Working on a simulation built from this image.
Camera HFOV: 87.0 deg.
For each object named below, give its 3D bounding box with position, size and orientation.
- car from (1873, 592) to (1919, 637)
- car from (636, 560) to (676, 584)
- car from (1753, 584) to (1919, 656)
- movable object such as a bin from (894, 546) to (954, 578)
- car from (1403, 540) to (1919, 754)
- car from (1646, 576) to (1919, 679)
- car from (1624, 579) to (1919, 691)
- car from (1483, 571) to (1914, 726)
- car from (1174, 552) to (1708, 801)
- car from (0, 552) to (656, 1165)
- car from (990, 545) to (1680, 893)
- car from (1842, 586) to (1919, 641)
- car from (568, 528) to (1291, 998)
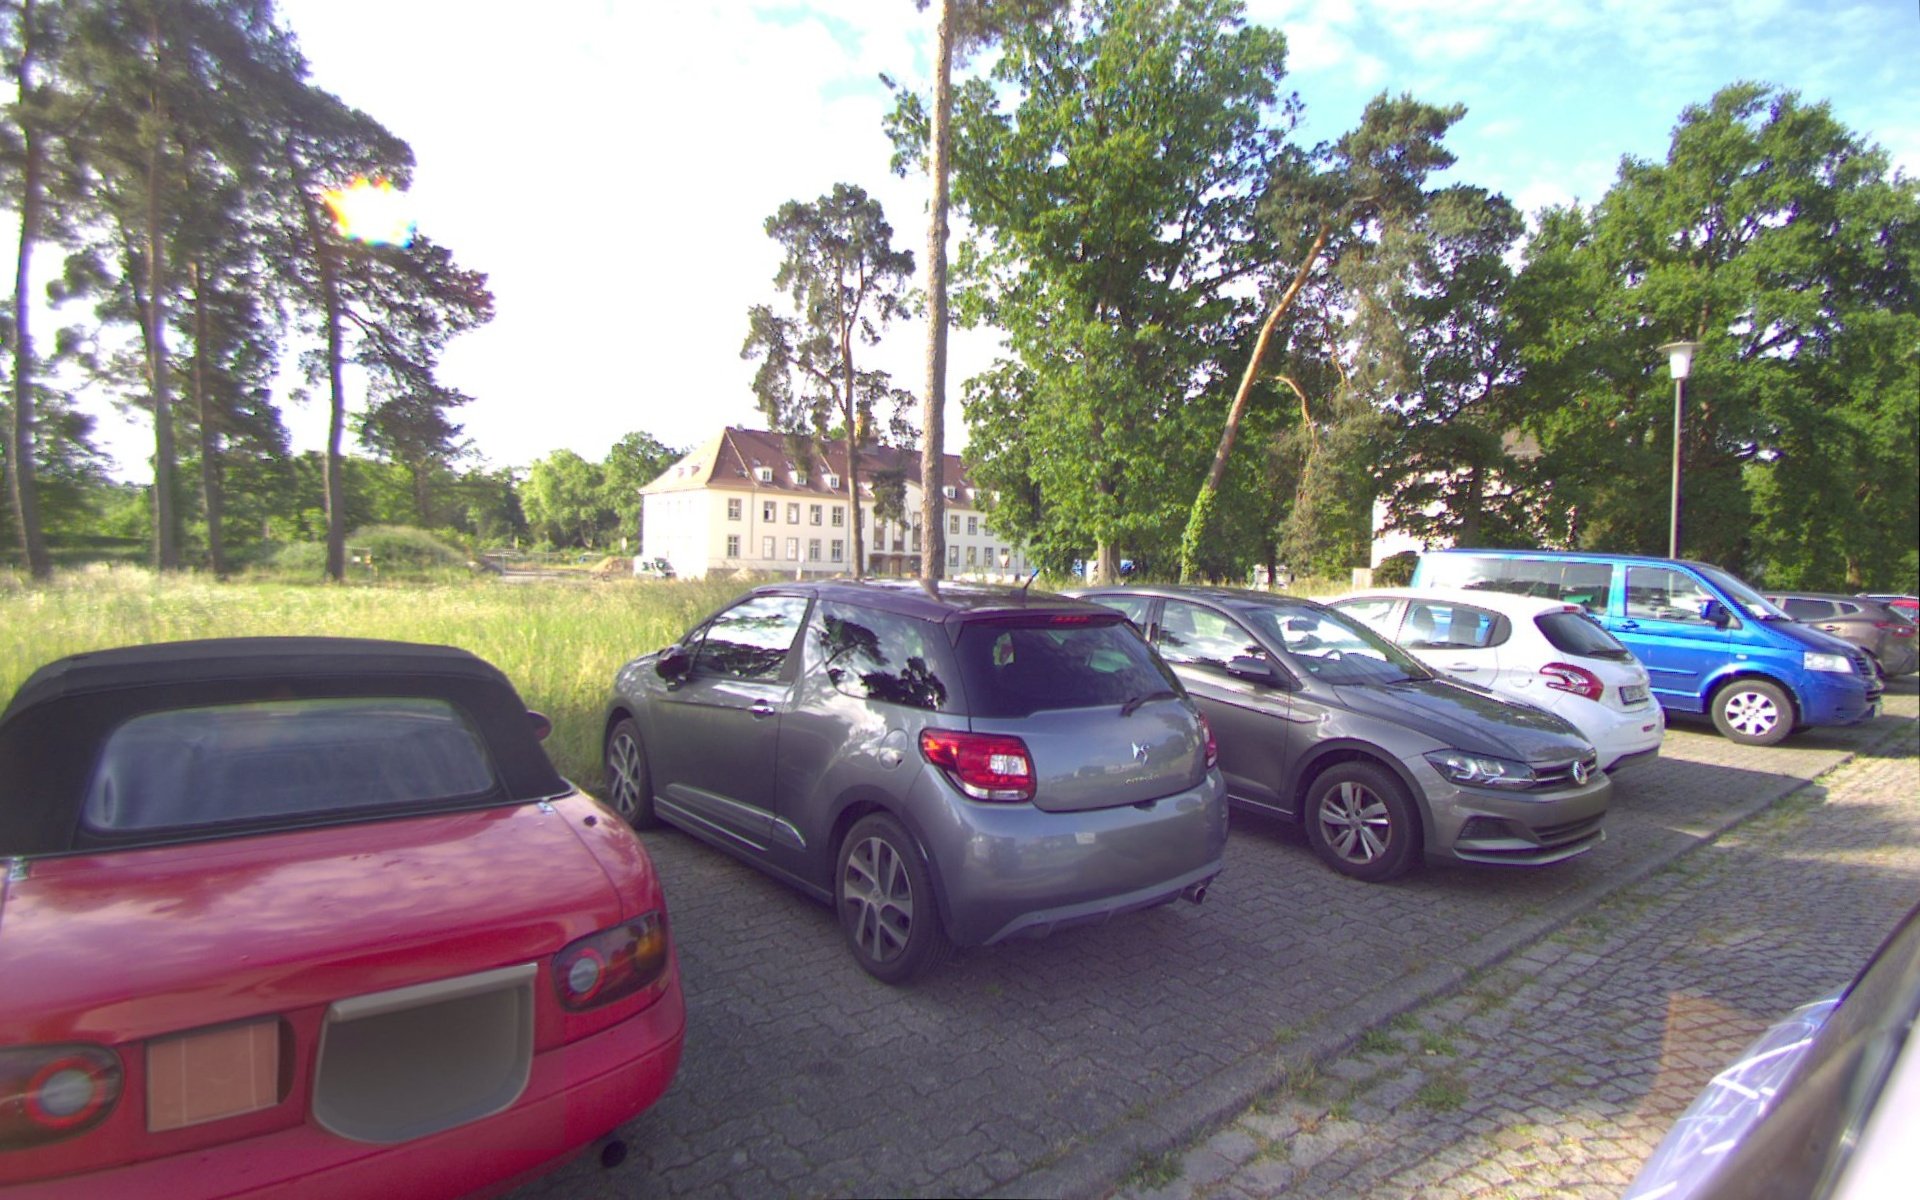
[{"bbox_3d":[33.520,0.575,33.917,1.754,1.440,4.096,1,3,-41],"label":"car"},{"bbox_3d":[-29.555,-2.689,98.298,1.967,2.240,4.423,-1,0,-43],"label":"car"},{"bbox_3d":[22.147,0.479,24.687,1.821,1.477,4.096,1,3,-41],"label":"car"},{"bbox_3d":[-4.008,-4.230,113.471,6.338,3.342,2.862,0,0,7],"label":"movable object such as a bin"},{"bbox_3d":[8.083,0.337,12.039,1.965,1.959,4.710,0,4,-40],"label":"car"},{"bbox_3d":[16.284,0.433,19.920,1.902,1.617,4.233,-1,4,-42],"label":"car"},{"bbox_3d":[14.492,0.511,17.915,1.902,1.617,4.232,-1,3,-42],"label":"car"},{"bbox_3d":[9.894,0.501,13.881,1.905,1.596,4.408,0,4,-40],"label":"car"},{"bbox_3d":[3.902,0.451,8.715,1.729,1.553,3.717,1,3,-39],"label":"car"},{"bbox_3d":[-2.796,0.512,4.045,1.715,1.238,3.717,1,3,-39],"label":"car"},{"bbox_3d":[2.117,0.462,6.521,1.823,1.466,3.717,1,3,-39],"label":"car"},{"bbox_3d":[29.934,0.485,31.033,1.821,1.576,4.096,1,3,-41],"label":"car"},{"bbox_3d":[-0.466,0.427,5.226,1.784,1.466,3.717,1,3,-40],"label":"car"}]
